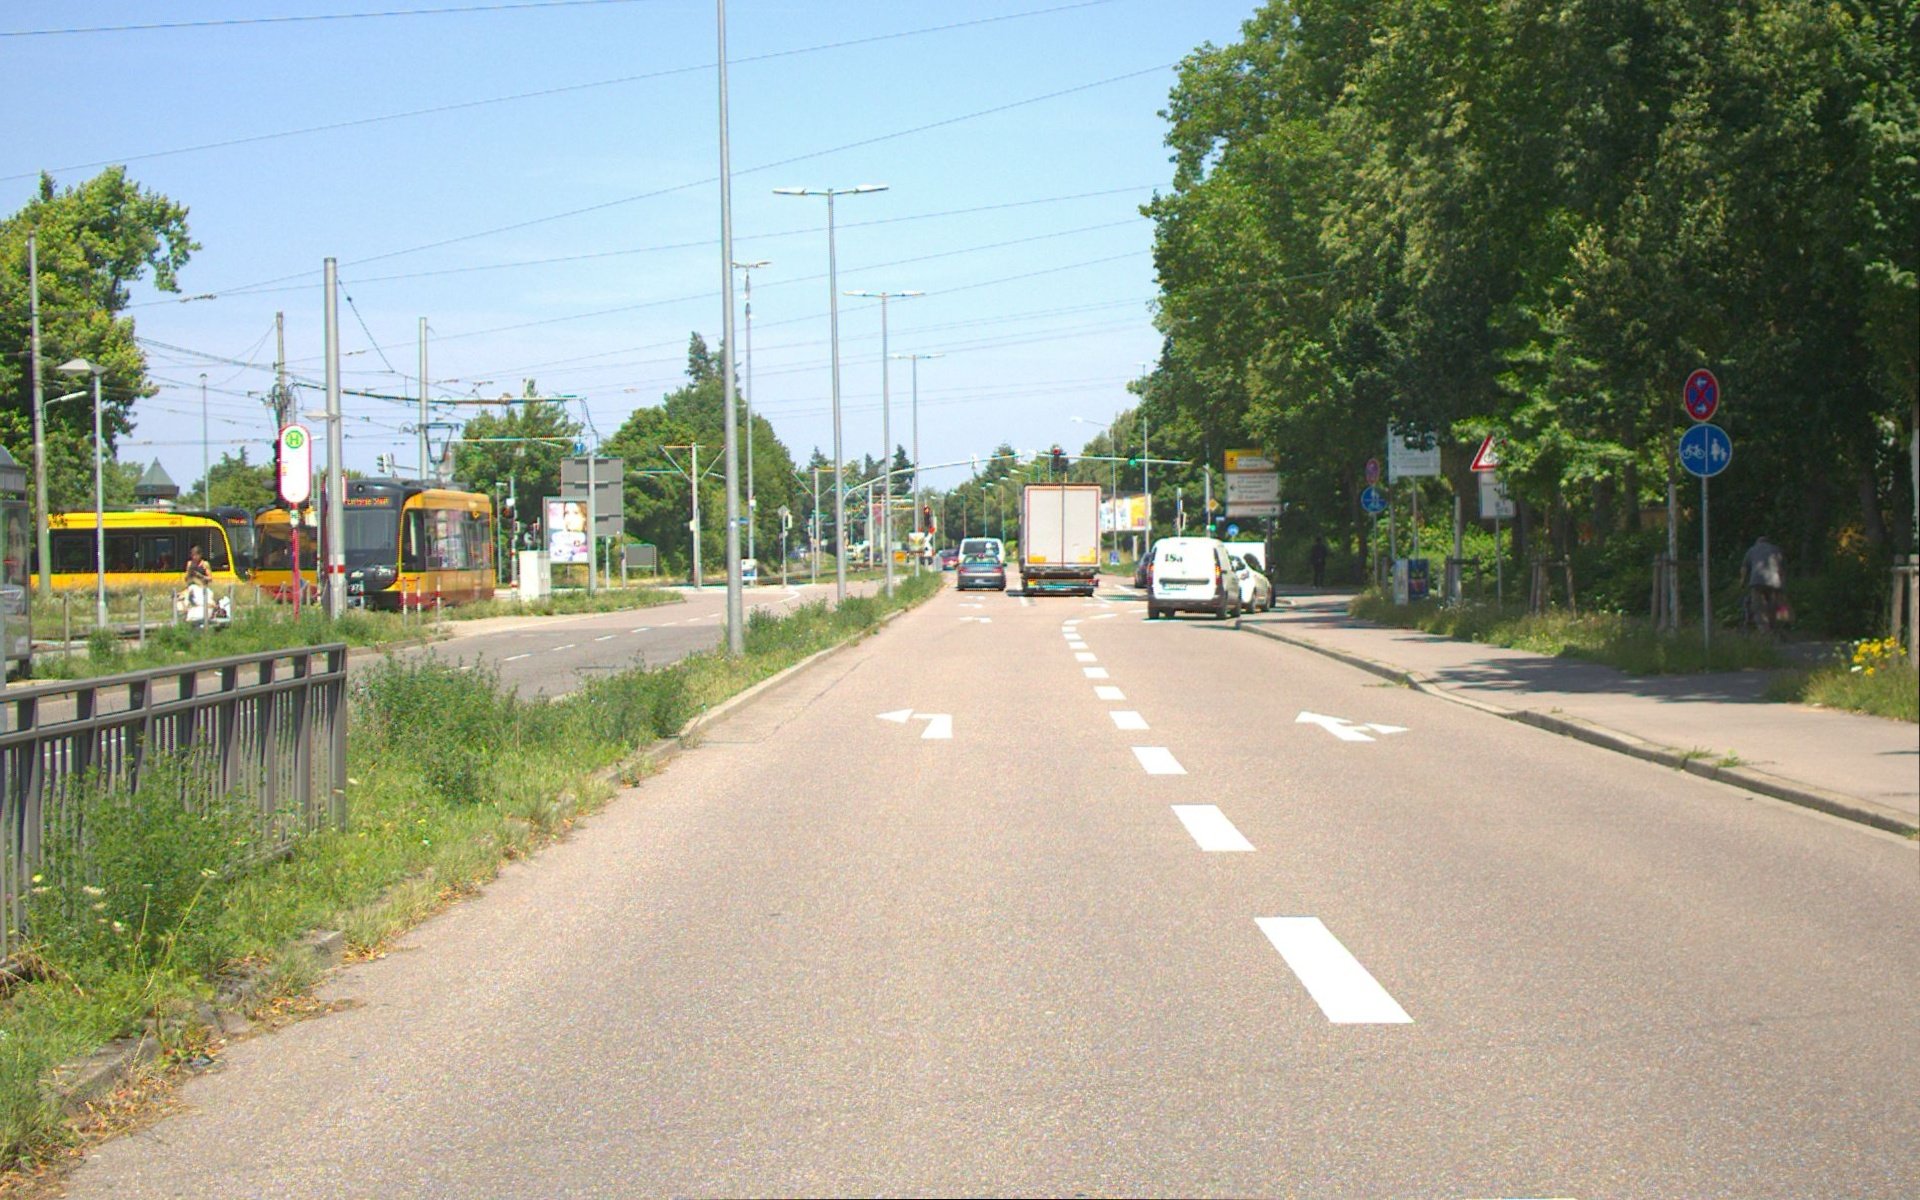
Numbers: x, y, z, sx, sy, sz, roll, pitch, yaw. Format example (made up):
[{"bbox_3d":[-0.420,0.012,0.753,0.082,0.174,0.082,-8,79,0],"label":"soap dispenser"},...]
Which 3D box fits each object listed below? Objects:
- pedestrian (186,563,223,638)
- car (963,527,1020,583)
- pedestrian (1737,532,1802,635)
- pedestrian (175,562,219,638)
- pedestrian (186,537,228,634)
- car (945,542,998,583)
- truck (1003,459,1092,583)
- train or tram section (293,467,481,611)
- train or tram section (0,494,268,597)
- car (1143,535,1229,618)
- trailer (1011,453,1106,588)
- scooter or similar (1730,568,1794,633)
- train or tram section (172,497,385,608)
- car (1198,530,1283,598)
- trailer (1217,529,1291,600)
[{"bbox_3d":[-12.088,0.000,55.002,0.494,1.185,0.400,1,1,2],"label":"pedestrian"},{"bbox_3d":[1.225,-1.784,135.741,1.993,2.103,4.748,0,2,-2],"label":"car"},{"bbox_3d":[11.111,-0.237,47.185,0.708,1.393,0.763,1,1,2],"label":"pedestrian"},{"bbox_3d":[-12.092,-0.003,54.495,0.580,1.185,0.536,1,1,-1],"label":"pedestrian"},{"bbox_3d":[-12.247,-0.234,55.927,0.534,1.560,0.582,1,1,-1],"label":"pedestrian"},{"bbox_3d":[0.420,-1.380,128.702,1.892,1.367,4.430,2,-1,0],"label":"car"},{"bbox_3d":[3.154,-2.925,126.119,2.827,4.329,8.285,1,2,-1],"label":"truck"},{"bbox_3d":[-14.897,-1.622,90.431,3.036,3.454,13.294,1,1,-2],"label":"train or tram section"},{"bbox_3d":[-30.893,-1.956,120.911,12.717,3.454,3.044,1,1,14],"label":"train or tram section"},{"bbox_3d":[4.973,-0.546,76.056,1.709,1.741,4.427,1,1,2],"label":"car"},{"bbox_3d":[3.309,-2.717,117.564,2.827,4.406,8.750,1,1,-1],"label":"trailer"},{"bbox_3d":[11.135,0.004,47.741,0.708,0.890,0.763,1,1,2],"label":"scooter or similar"},{"bbox_3d":[-22.439,-1.612,112.428,3.036,3.454,12.752,0,1,-29],"label":"train or tram section"},{"bbox_3d":[6.994,-0.925,85.972,1.699,1.648,4.399,1,1,-1],"label":"car"},{"bbox_3d":[7.023,-0.859,82.347,1.469,1.663,2.856,1,1,-1],"label":"trailer"}]
